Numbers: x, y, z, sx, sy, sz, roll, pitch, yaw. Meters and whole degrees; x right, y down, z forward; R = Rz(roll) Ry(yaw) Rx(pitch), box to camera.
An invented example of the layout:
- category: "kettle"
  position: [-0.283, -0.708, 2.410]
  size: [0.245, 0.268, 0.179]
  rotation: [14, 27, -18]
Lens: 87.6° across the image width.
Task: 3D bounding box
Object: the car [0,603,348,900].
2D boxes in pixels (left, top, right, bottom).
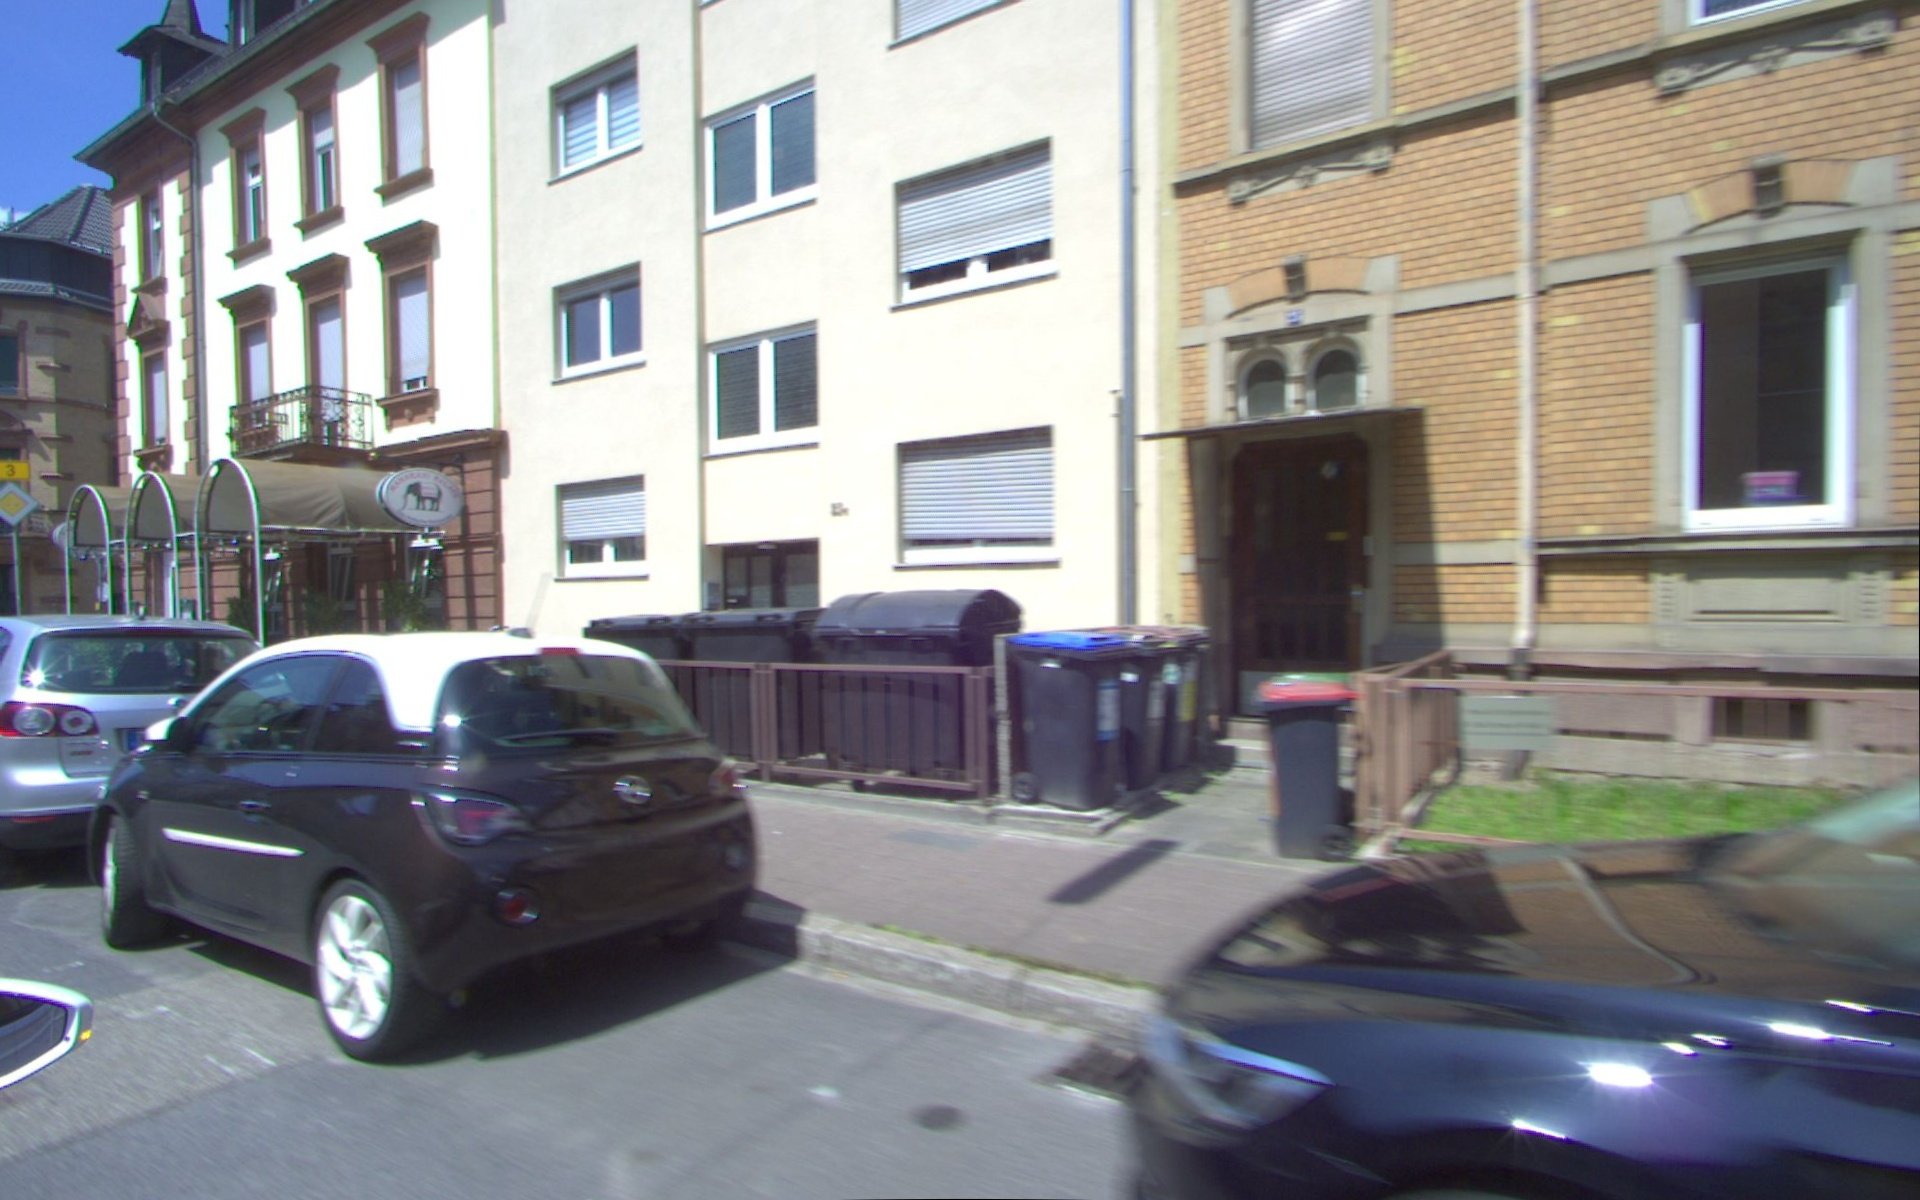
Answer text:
- category: "car"
  position: [-6.297, 0.861, 7.130]
  size: [4.009, 1.571, 1.754]
  rotation: [-1, -3, 33]

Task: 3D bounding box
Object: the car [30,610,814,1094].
- category: "car"
  position: [-2.770, 0.840, 4.926]
  size: [3.876, 1.497, 1.754]
  rotation: [-1, -3, 33]

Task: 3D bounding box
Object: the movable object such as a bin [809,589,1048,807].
- category: "movable object such as a bin"
  position: [-0.212, 0.652, 7.474]
  size: [1.286, 1.429, 1.279]
  rotation: [0, 0, 33]

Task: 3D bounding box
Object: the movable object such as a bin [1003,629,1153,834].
- category: "movable object such as a bin"
  position: [0.771, 0.800, 6.474]
  size: [0.736, 1.203, 0.720]
  rotation: [0, 0, 31]

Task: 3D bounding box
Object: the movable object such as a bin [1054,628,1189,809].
- category: "movable object such as a bin"
  position: [1.157, 0.798, 7.124]
  size: [0.736, 1.183, 0.720]
  rotation: [0, 0, 31]

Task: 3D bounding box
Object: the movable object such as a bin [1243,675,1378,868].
- category: "movable object such as a bin"
  position: [1.969, 0.918, 5.600]
  size: [0.603, 0.940, 0.623]
  rotation: [0, 0, 31]

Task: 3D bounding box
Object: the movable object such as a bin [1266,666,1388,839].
- category: "movable object such as a bin"
  position: [2.271, 0.904, 6.171]
  size: [0.603, 0.940, 0.623]
  rotation: [0, 0, 31]

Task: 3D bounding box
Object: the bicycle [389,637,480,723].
- category: "bicycle"
  position: [-6.705, 0.985, 12.750]
  size: [1.612, 0.996, 0.548]
  rotation: [0, 0, 44]

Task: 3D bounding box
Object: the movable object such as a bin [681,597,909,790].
- category: "movable object such as a bin"
  position: [-1.333, 0.690, 8.229]
  size: [1.345, 1.414, 1.279]
  rotation: [0, 0, 33]

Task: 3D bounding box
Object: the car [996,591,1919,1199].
- category: "car"
  position: [2.373, 0.772, 1.410]
  size: [4.354, 1.497, 1.756]
  rotation: [0, -3, 31]

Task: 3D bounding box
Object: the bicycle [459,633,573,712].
- category: "bicycle"
  position: [-6.038, 0.961, 13.601]
  size: [1.604, 0.996, 0.550]
  rotation: [0, 0, 28]

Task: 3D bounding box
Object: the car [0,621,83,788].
- category: "car"
  position: [-10.375, 0.940, 9.761]
  size: [3.876, 1.497, 1.754]
  rotation: [-1, -3, 33]

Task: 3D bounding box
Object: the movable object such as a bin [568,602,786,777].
- category: "movable object such as a bin"
  position: [-2.516, 0.727, 8.970]
  size: [1.393, 1.414, 1.279]
  rotation: [0, 0, 33]

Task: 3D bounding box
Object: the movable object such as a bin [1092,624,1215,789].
- category: "movable object such as a bin"
  position: [1.510, 0.785, 7.781]
  size: [0.736, 1.183, 0.720]
  rotation: [0, 0, 31]
